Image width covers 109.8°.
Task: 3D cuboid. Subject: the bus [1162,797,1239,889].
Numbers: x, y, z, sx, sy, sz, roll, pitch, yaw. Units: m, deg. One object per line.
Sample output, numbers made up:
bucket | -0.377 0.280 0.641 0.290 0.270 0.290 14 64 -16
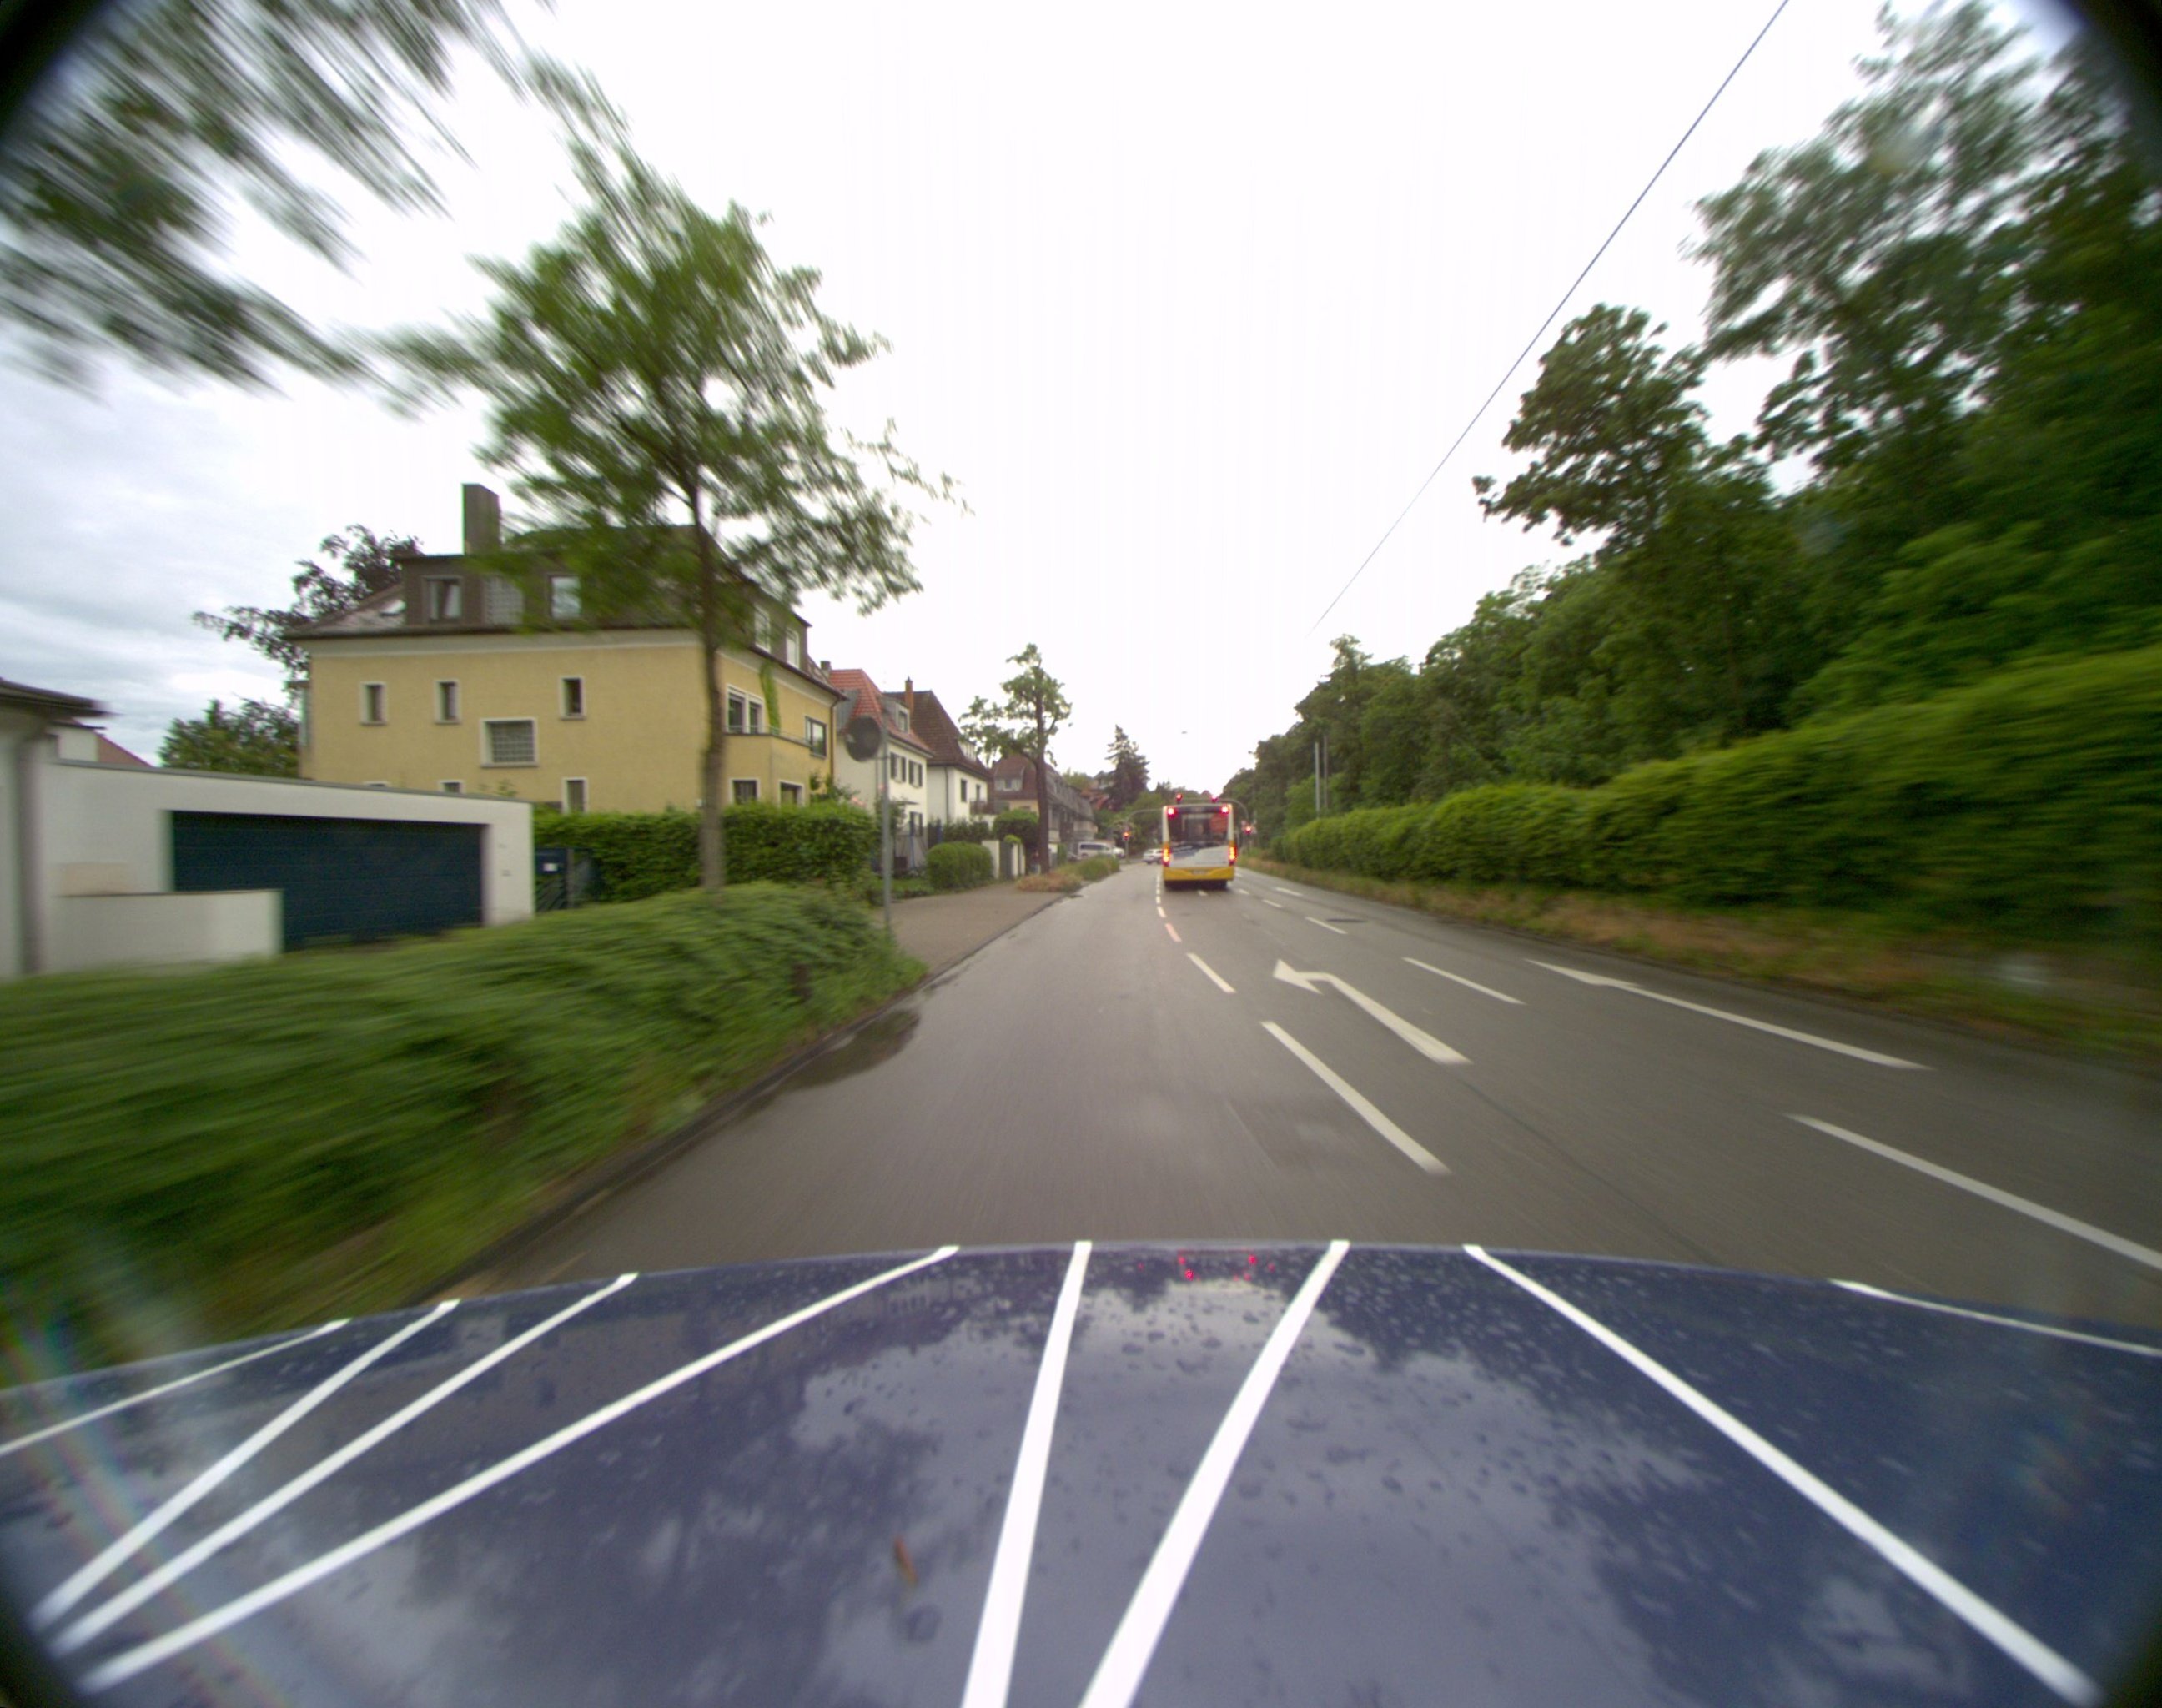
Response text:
bus | 4.673 -0.446 30.959 2.600 3.140 8.638 -1 1 6

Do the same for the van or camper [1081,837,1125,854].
van or camper | 2.708 -1.037 94.482 5.173 2.002 2.001 -1 2 12

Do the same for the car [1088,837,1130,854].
car | 3.618 -1.133 97.398 5.173 2.002 2.001 -1 2 12

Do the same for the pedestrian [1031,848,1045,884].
pedestrian | -1.854 0.493 32.737 0.483 1.525 0.439 -2 1 3

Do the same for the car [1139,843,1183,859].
car | 7.790 -0.303 73.895 4.007 1.521 1.994 -1 1 -37

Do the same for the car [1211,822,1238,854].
car | 16.938 -1.884 89.251 2.853 3.568 6.610 0 1 13
